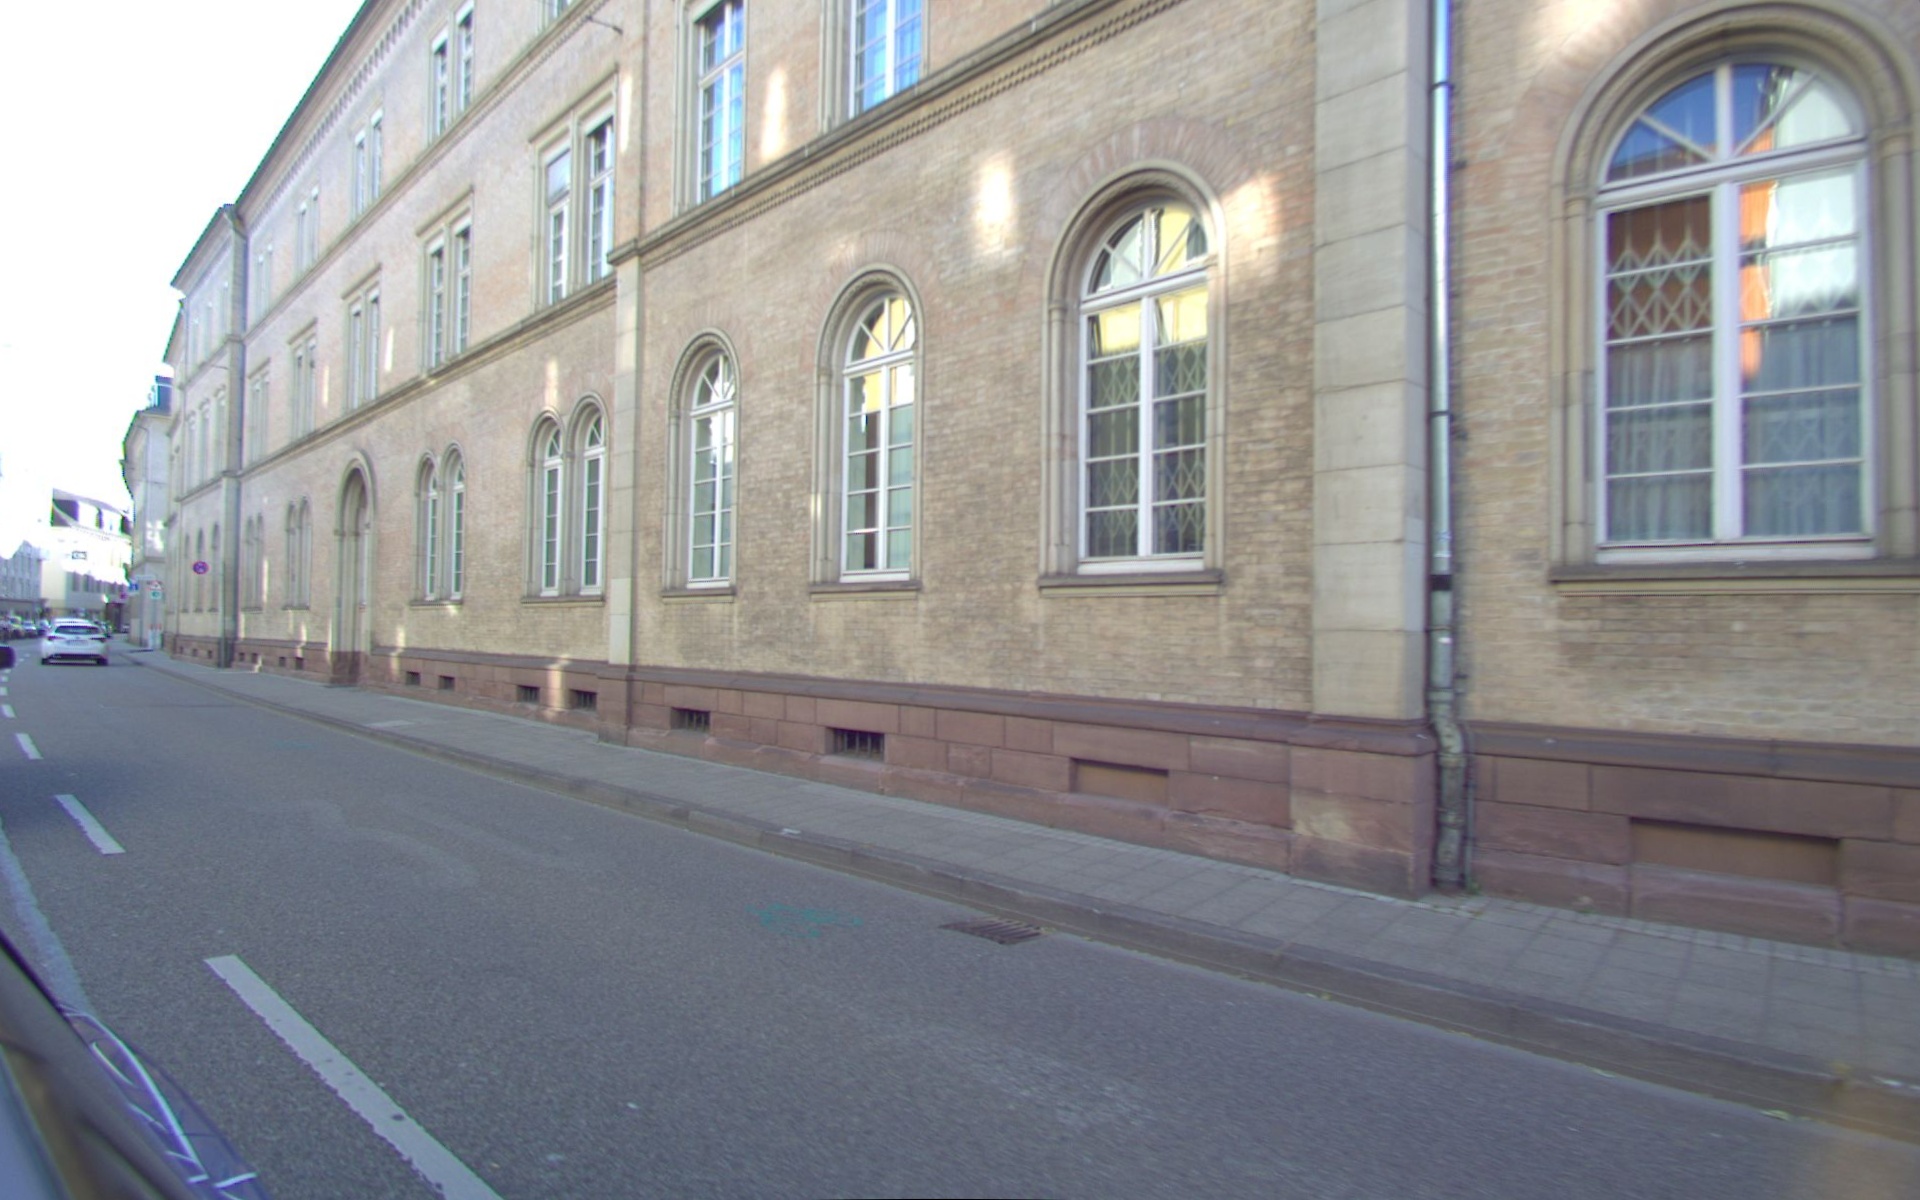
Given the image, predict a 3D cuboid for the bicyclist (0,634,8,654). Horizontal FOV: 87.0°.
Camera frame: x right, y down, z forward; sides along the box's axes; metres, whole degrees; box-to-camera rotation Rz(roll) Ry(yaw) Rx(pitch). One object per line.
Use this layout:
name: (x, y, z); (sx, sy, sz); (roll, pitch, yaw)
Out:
bicyclist: (-53.049, 2.451, 56.111); (0.343, 1.116, 0.368); (2, -3, -38)

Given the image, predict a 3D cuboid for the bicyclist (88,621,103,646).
bicyclist: (-50.319, 1.943, 58.930); (0.596, 1.454, 0.579); (3, -3, -44)

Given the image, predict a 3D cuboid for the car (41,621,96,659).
car: (-40.227, 1.781, 45.641); (1.665, 1.595, 4.279); (5, -5, -42)

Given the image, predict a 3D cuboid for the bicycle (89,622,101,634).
bicycle: (-74.455, 2.430, 87.138); (0.642, 1.014, 1.879); (5, -5, -39)

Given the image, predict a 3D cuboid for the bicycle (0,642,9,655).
bicycle: (-53.047, 2.688, 56.101); (0.343, 0.729, 1.120); (2, -3, -37)

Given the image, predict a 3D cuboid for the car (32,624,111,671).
car: (-30.797, 1.615, 35.079); (1.864, 1.487, 4.550); (5, -4, -42)

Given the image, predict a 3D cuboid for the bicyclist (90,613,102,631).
bicyclist: (-74.465, 1.870, 87.208); (0.642, 1.520, 1.113); (5, -5, -39)
